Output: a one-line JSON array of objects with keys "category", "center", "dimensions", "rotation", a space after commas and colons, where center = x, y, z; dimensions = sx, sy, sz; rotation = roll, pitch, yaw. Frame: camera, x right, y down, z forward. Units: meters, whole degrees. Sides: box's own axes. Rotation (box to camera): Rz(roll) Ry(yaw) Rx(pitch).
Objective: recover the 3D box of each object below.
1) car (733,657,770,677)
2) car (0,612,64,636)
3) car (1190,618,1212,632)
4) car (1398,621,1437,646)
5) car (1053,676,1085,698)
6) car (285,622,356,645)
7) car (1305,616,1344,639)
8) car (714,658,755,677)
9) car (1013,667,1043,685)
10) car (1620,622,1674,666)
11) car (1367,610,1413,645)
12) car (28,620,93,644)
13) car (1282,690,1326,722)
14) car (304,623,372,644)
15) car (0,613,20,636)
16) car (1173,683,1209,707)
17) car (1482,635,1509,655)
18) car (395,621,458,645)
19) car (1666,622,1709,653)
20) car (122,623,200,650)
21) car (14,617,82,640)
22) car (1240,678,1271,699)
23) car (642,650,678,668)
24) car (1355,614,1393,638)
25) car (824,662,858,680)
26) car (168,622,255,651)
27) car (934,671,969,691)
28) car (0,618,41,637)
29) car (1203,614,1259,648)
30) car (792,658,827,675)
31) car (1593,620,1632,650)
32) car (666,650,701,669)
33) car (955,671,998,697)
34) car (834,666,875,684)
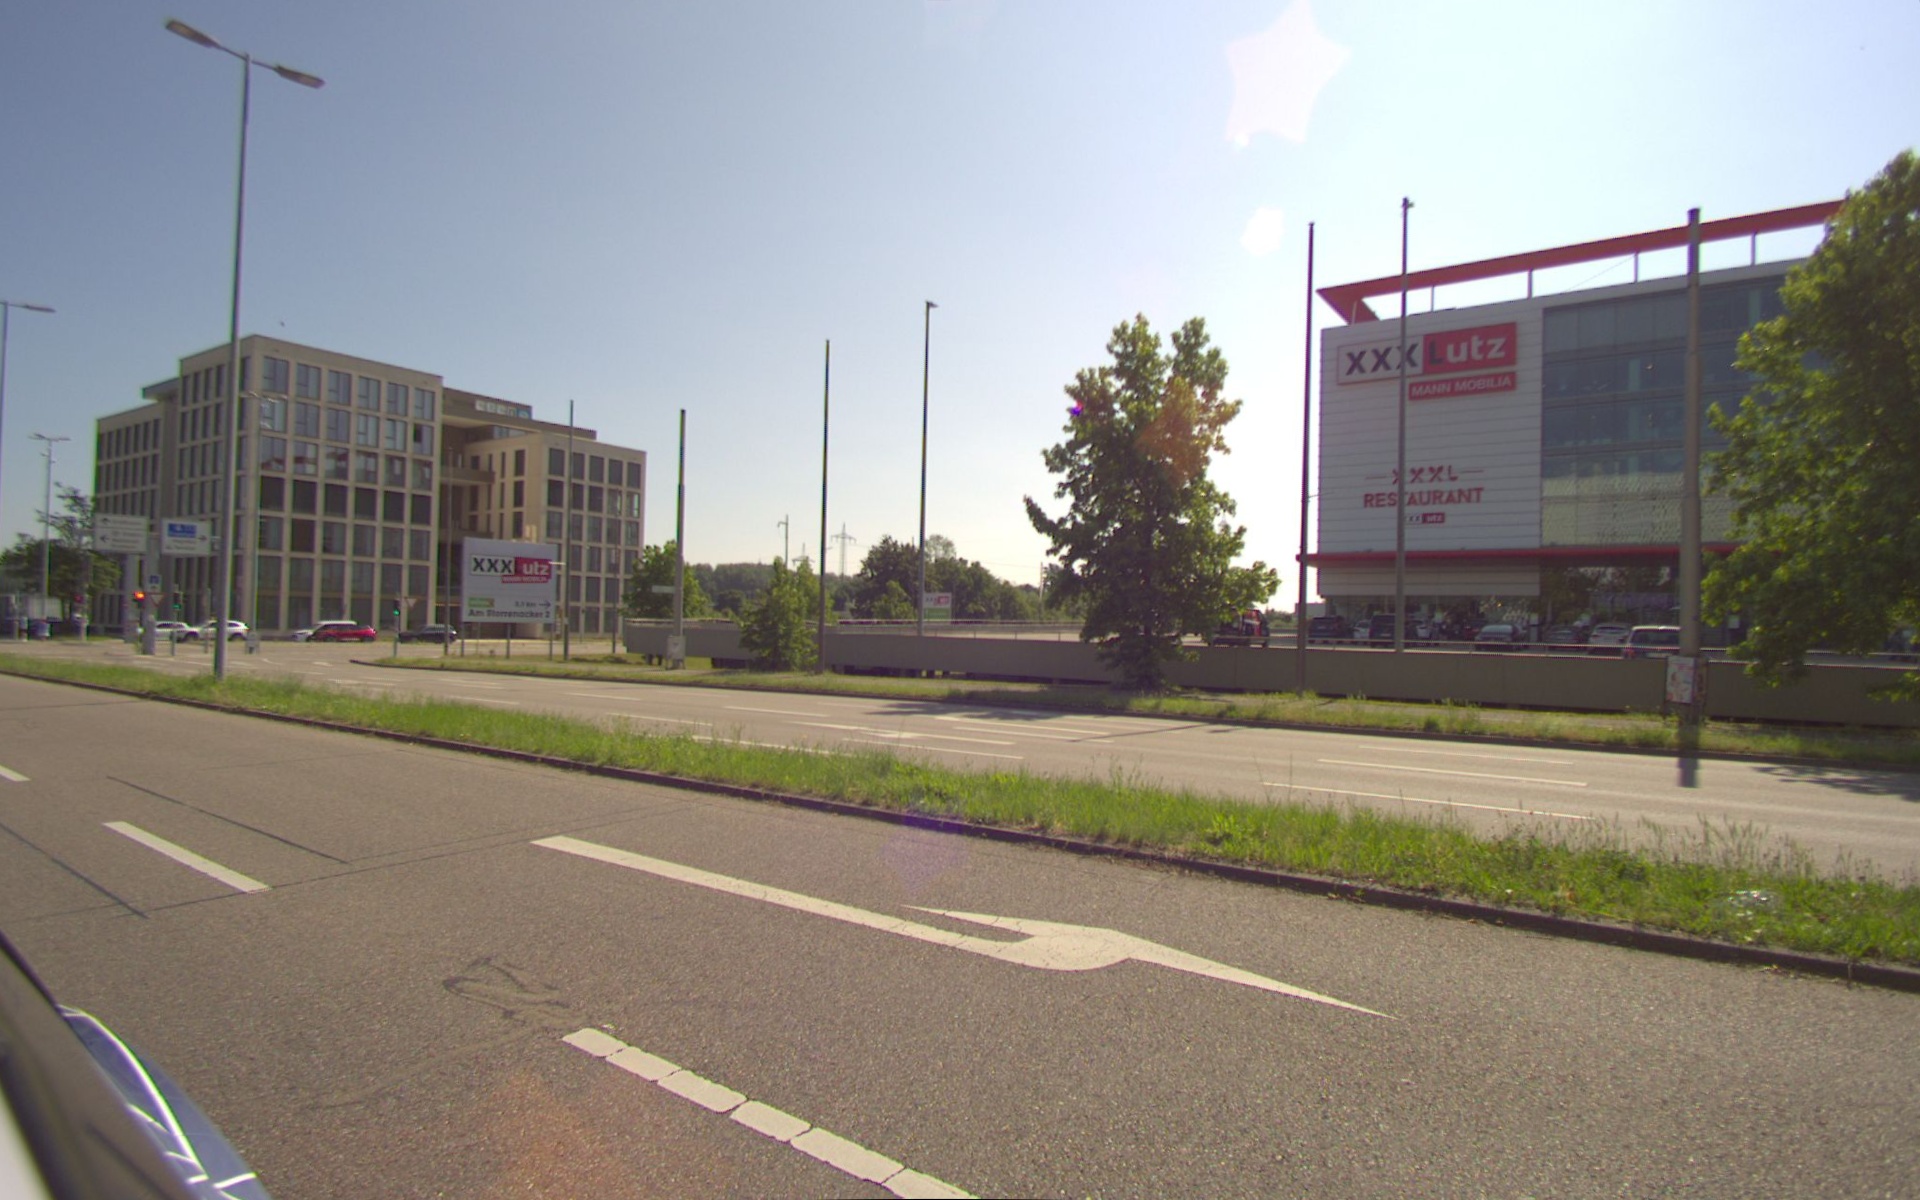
[{"category": "car", "center": [-11.066, 3.534, 53.771], "dimensions": [0.864, 0.983, 1.827], "rotation": [1, -1, 33]}, {"category": "car", "center": [-82.782, 2.132, 90.273], "dimensions": [3.932, 2.029, 2.005], "rotation": [3, -3, -33]}, {"category": "car", "center": [18.210, 1.912, 76.490], "dimensions": [1.068, 0.983, 1.921], "rotation": [1, -1, 33]}, {"category": "car", "center": [26.294, 1.930, 58.094], "dimensions": [1.512, 1.340, 3.061], "rotation": [1, -1, 34]}, {"category": "car", "center": [5.563, 4.402, 51.558], "dimensions": [0.908, 0.983, 1.921], "rotation": [0, -2, 33]}, {"category": "car", "center": [-48.976, 2.553, 77.550], "dimensions": [1.899, 1.724, 4.183], "rotation": [-1, -2, 33]}, {"category": "car", "center": [22.064, 1.671, 61.197], "dimensions": [1.512, 1.340, 2.985], "rotation": [1, -1, 34]}, {"category": "car", "center": [-12.206, 3.665, 54.852], "dimensions": [1.069, 1.016, 1.920], "rotation": [-2, -4, 35]}, {"category": "car", "center": [4.194, 4.644, 62.158], "dimensions": [1.068, 0.983, 1.921], "rotation": [1, -1, 33]}, {"category": "car", "center": [17.866, 1.132, 26.362], "dimensions": [1.068, 1.067, 2.493], "rotation": [1, -1, 33]}, {"category": "car", "center": [22.947, 1.469, 53.985], "dimensions": [1.688, 1.771, 3.061], "rotation": [1, -1, 34]}, {"category": "car", "center": [-74.777, 2.671, 84.202], "dimensions": [3.937, 1.751, 2.003], "rotation": [4, -2, -40]}, {"category": "car", "center": [12.464, 3.812, 36.627], "dimensions": [1.068, 0.983, 1.921], "rotation": [1, -1, 33]}, {"category": "car", "center": [-46.363, 2.521, 75.526], "dimensions": [1.526, 1.539, 4.073], "rotation": [-1, -2, 33]}, {"category": "car", "center": [-89.281, 2.231, 92.981], "dimensions": [3.933, 2.029, 2.005], "rotation": [3, -3, -34]}, {"category": "car", "center": [10.905, 4.477, 47.687], "dimensions": [1.068, 0.983, 1.921], "rotation": [1, -1, 33]}, {"category": "car", "center": [26.702, 2.252, 50.451], "dimensions": [1.068, 0.983, 1.921], "rotation": [-1, -3, 33]}, {"category": "car", "center": [-44.072, 2.751, 83.730], "dimensions": [1.831, 1.903, 4.192], "rotation": [1, -1, 36]}, {"category": "car", "center": [33.981, 1.733, 47.343], "dimensions": [1.512, 1.340, 3.187], "rotation": [1, -1, 34]}, {"category": "car", "center": [-54.460, 2.474, 69.059], "dimensions": [1.827, 1.725, 3.728], "rotation": [1, -1, 30]}, {"category": "car", "center": [-77.425, 2.448, 85.996], "dimensions": [3.933, 1.841, 2.005], "rotation": [3, -3, -34]}, {"category": "car", "center": [15.706, 4.679, 53.705], "dimensions": [1.068, 0.983, 1.921], "rotation": [1, -1, 33]}, {"category": "car", "center": [-17.345, 3.412, 58.538], "dimensions": [0.887, 0.983, 1.921], "rotation": [0, -2, 33]}, {"category": "car", "center": [24.652, 1.540, 60.191], "dimensions": [1.512, 1.340, 3.061], "rotation": [1, -1, 34]}, {"category": "car", "center": [-6.909, 4.117, 58.918], "dimensions": [0.885, 0.983, 1.920], "rotation": [1, -1, 34]}, {"category": "car", "center": [-50.856, 2.479, 68.838], "dimensions": [2.019, 1.852, 4.266], "rotation": [1, -1, 31]}, {"category": "car", "center": [-0.463, 4.429, 55.683], "dimensions": [1.068, 0.983, 1.921], "rotation": [1, -1, 33]}, {"category": "car", "center": [-86.486, 2.467, 92.025], "dimensions": [3.933, 1.627, 2.005], "rotation": [3, -3, -34]}, {"category": "car", "center": [12.825, 1.478, 47.767], "dimensions": [1.770, 1.568, 2.743], "rotation": [-1, -3, 34]}, {"category": "car", "center": [-8.935, 3.939, 60.063], "dimensions": [1.068, 0.983, 1.921], "rotation": [-1, -3, 34]}, {"category": "car", "center": [31.005, 1.666, 48.055], "dimensions": [1.512, 1.340, 3.187], "rotation": [1, -1, 34]}, {"category": "car", "center": [-13.600, 2.934, 49.848], "dimensions": [0.790, 0.889, 1.489], "rotation": [1, -1, 33]}, {"category": "car", "center": [0.746, 3.728, 45.137], "dimensions": [1.068, 0.983, 1.921], "rotation": [1, -1, 33]}, {"category": "car", "center": [-5.173, 3.661, 49.607], "dimensions": [0.904, 0.739, 2.064], "rotation": [1, -1, 33]}]
